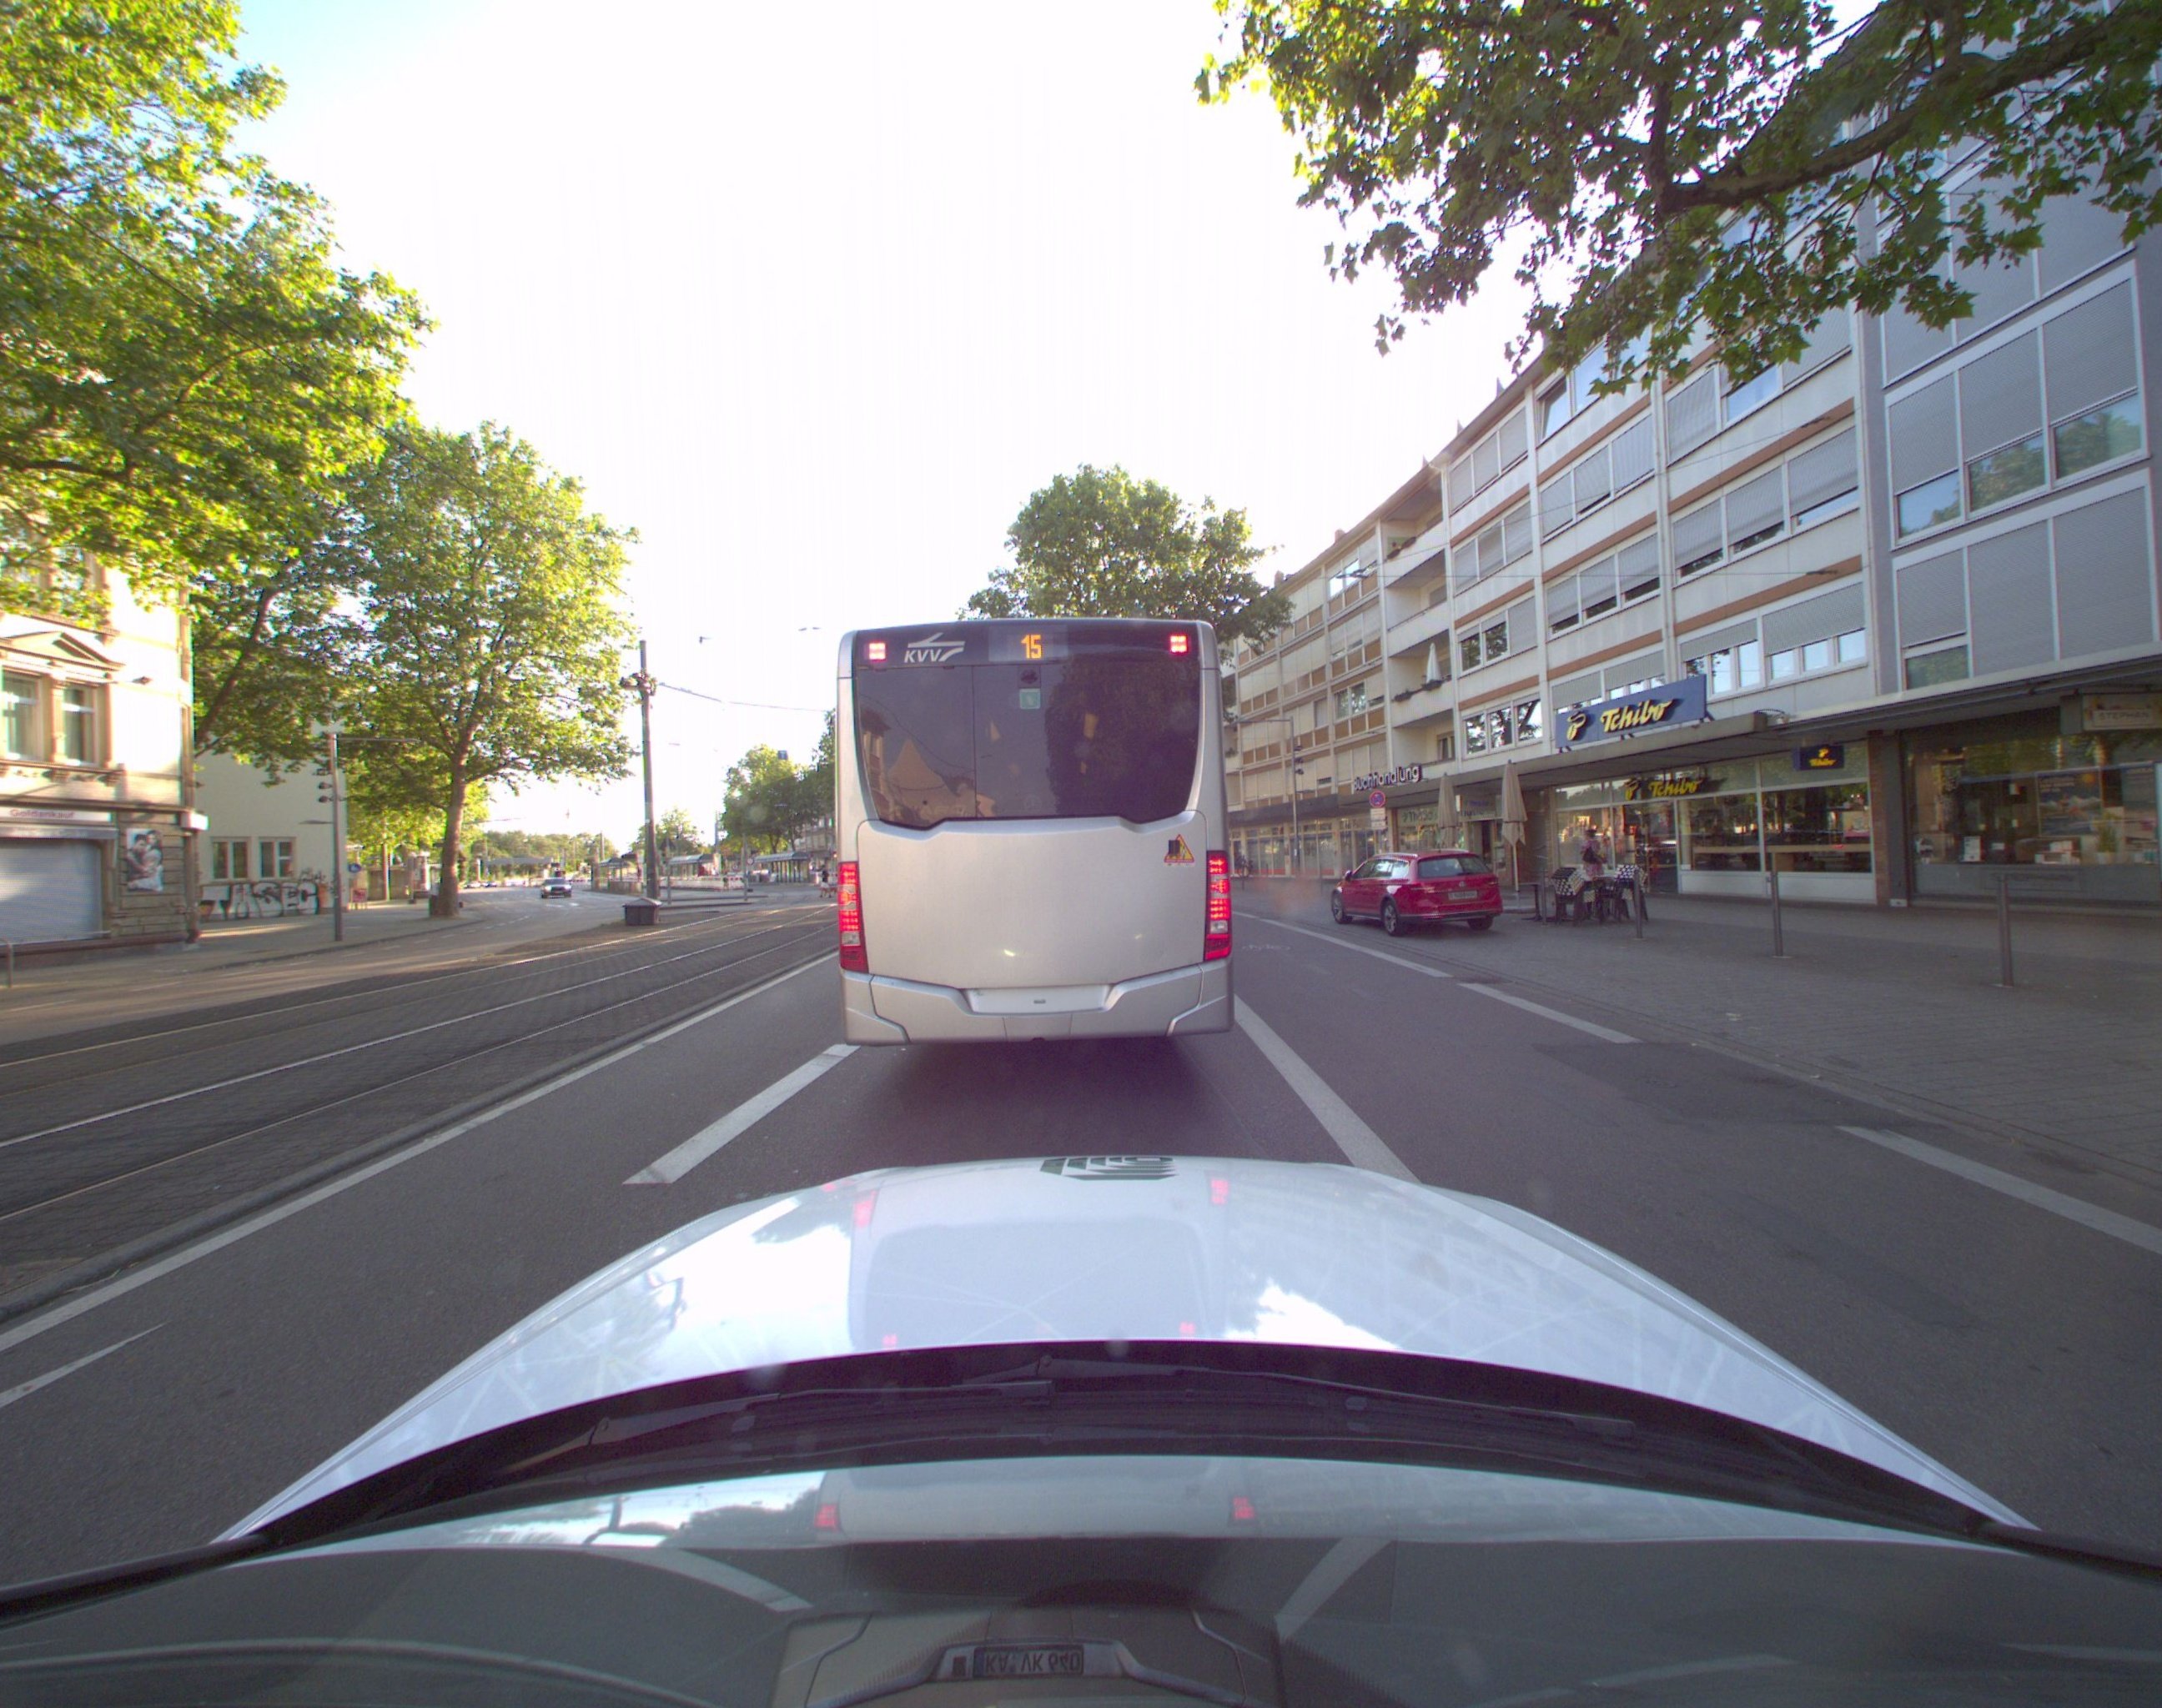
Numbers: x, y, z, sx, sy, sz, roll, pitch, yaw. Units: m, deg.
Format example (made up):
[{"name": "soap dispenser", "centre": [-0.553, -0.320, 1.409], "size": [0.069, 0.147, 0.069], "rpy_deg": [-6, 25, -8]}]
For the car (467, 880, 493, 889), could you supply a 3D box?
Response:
[{"name": "car", "centre": [-122.662, 6.290, 166.148], "size": [1.768, 1.640, 4.024], "rpy_deg": [-3, -1, 44]}]

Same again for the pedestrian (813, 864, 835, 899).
[{"name": "pedestrian", "centre": [-13.040, 1.373, 41.375], "size": [0.893, 1.728, 0.518], "rpy_deg": [-2, -1, 3]}]

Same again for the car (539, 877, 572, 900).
[{"name": "car", "centre": [-40.057, 2.597, 62.075], "size": [2.008, 1.640, 3.958], "rpy_deg": [-2, -1, -33]}]

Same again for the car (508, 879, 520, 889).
[{"name": "car", "centre": [-111.442, 5.868, 160.024], "size": [1.858, 1.684, 3.677], "rpy_deg": [-4, 1, -35]}]

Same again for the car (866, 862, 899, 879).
[{"name": "car", "centre": [-21.678, 1.753, 88.952], "size": [2.010, 1.792, 3.954], "rpy_deg": [0, -1, -39]}]

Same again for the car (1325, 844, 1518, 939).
[{"name": "car", "centre": [6.374, 0.636, 15.826], "size": [1.765, 1.482, 4.300], "rpy_deg": [-3, 0, -2]}]

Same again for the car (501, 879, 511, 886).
[{"name": "car", "centre": [-130.086, 6.438, 184.204], "size": [1.858, 1.684, 3.676], "rpy_deg": [-2, -1, -35]}]

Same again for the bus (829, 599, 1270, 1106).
[{"name": "bus", "centre": [-0.174, 0.012, 9.932], "size": [2.622, 3.028, 9.995], "rpy_deg": [-1, 0, 0]}]

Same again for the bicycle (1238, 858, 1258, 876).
[{"name": "bicycle", "centre": [9.320, 0.717, 45.488], "size": [0.413, 0.945, 1.431], "rpy_deg": [-2, -1, -18]}]

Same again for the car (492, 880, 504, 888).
[{"name": "car", "centre": [-117.824, 6.055, 164.684], "size": [1.858, 1.684, 3.676], "rpy_deg": [-2, -1, -35]}]

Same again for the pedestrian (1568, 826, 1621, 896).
[{"name": "pedestrian", "centre": [12.288, 0.167, 19.499], "size": [0.649, 1.592, 0.788], "rpy_deg": [-4, -1, -4]}]

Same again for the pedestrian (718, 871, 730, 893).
[{"name": "pedestrian", "centre": [-26.626, 2.078, 60.778], "size": [0.661, 1.656, 0.438], "rpy_deg": [-2, -1, -41]}]

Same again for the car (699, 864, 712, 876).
[{"name": "car", "centre": [-66.944, 2.851, 145.258], "size": [1.629, 2.014, 3.080], "rpy_deg": [-2, -1, -32]}]
